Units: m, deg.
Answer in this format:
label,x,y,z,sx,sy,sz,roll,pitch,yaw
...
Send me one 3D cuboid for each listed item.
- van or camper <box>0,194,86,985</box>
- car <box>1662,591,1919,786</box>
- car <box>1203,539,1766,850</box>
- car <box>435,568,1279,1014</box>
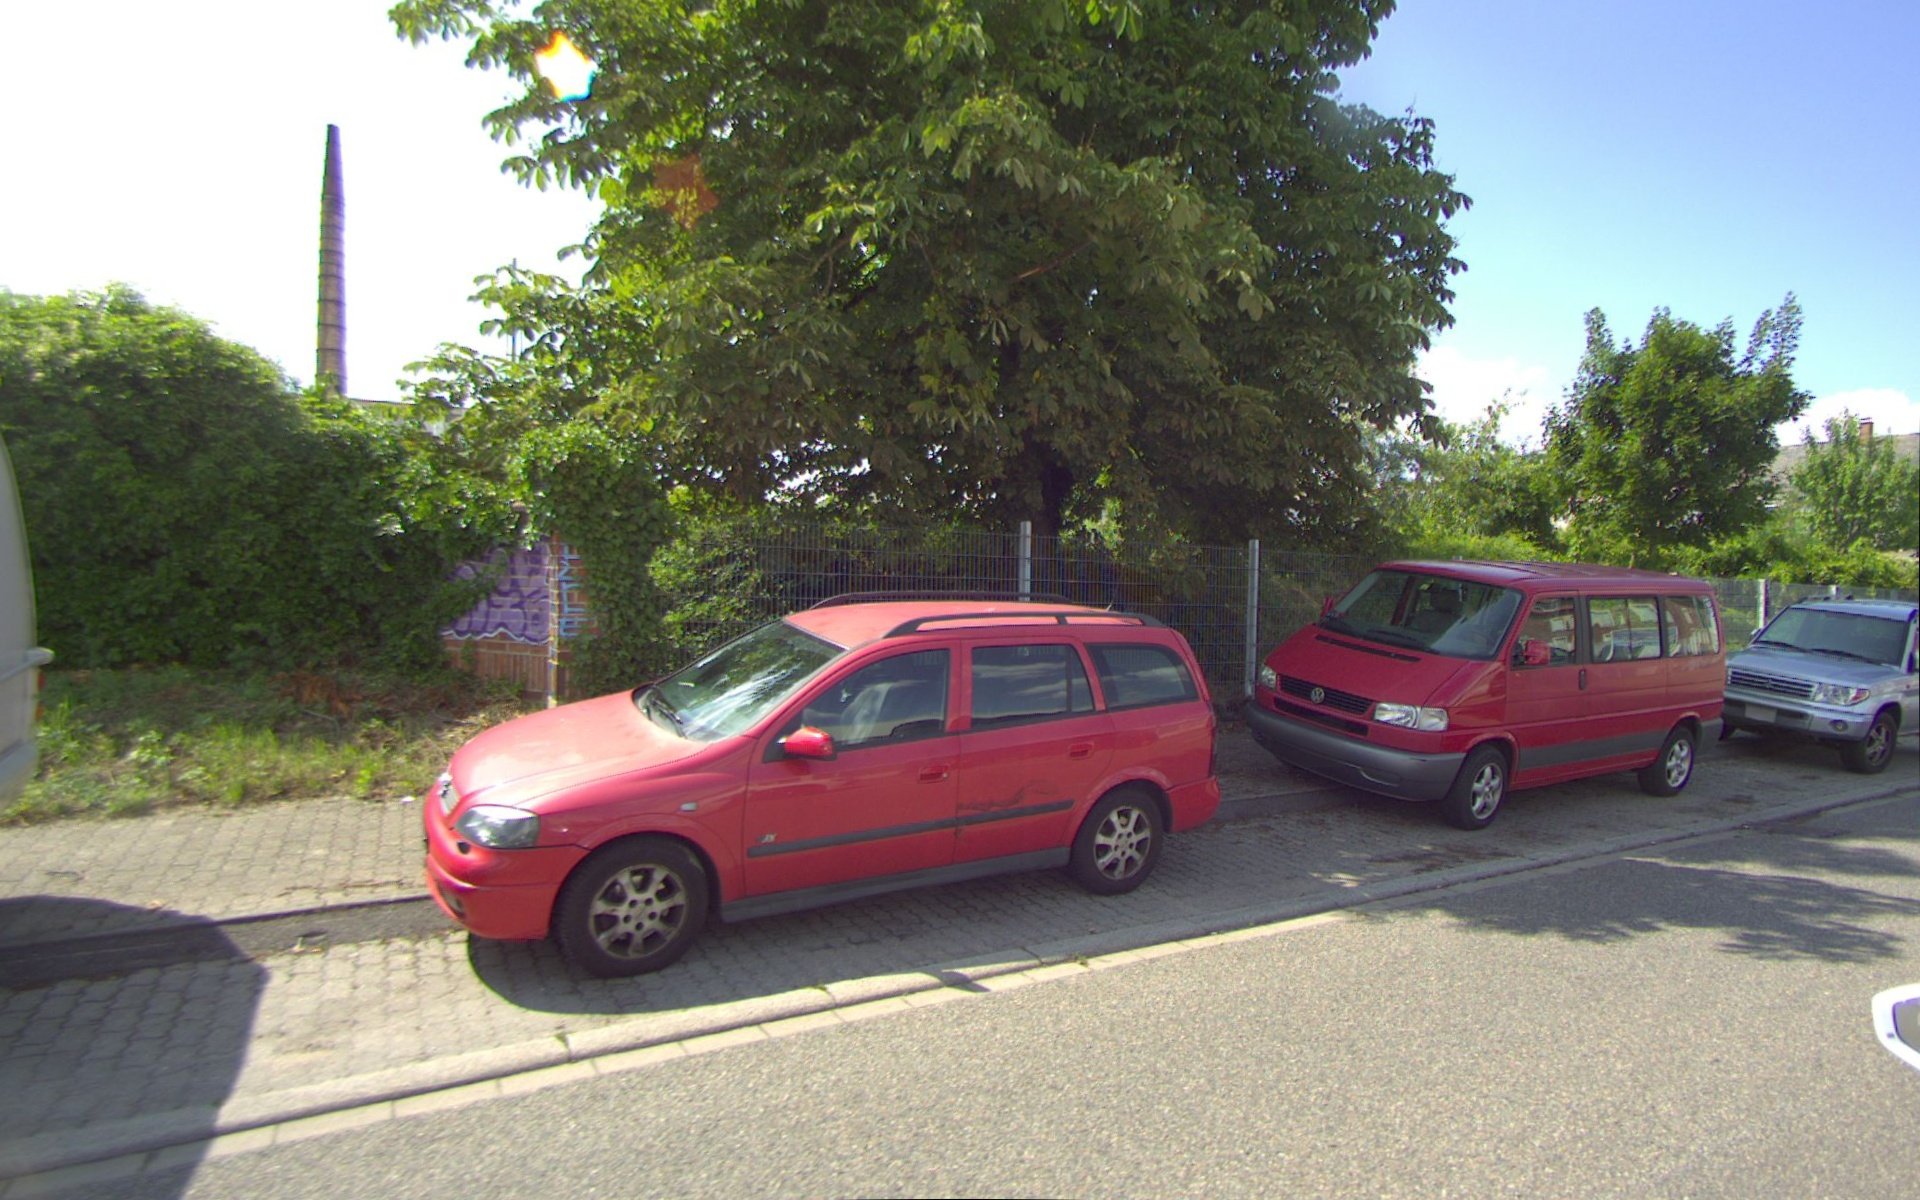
label,x,y,z,sx,sy,sz,roll,pitch,yaw
van or camper,-6.403,-0.093,1.972,6.757,2.841,2.250,1,4,-32
car,10.120,0.907,11.577,3.779,1.826,1.692,1,4,-28
car,4.672,0.652,8.755,4.900,1.981,1.888,2,6,-31
car,-0.428,0.732,5.446,4.218,1.553,1.616,1,5,-30
